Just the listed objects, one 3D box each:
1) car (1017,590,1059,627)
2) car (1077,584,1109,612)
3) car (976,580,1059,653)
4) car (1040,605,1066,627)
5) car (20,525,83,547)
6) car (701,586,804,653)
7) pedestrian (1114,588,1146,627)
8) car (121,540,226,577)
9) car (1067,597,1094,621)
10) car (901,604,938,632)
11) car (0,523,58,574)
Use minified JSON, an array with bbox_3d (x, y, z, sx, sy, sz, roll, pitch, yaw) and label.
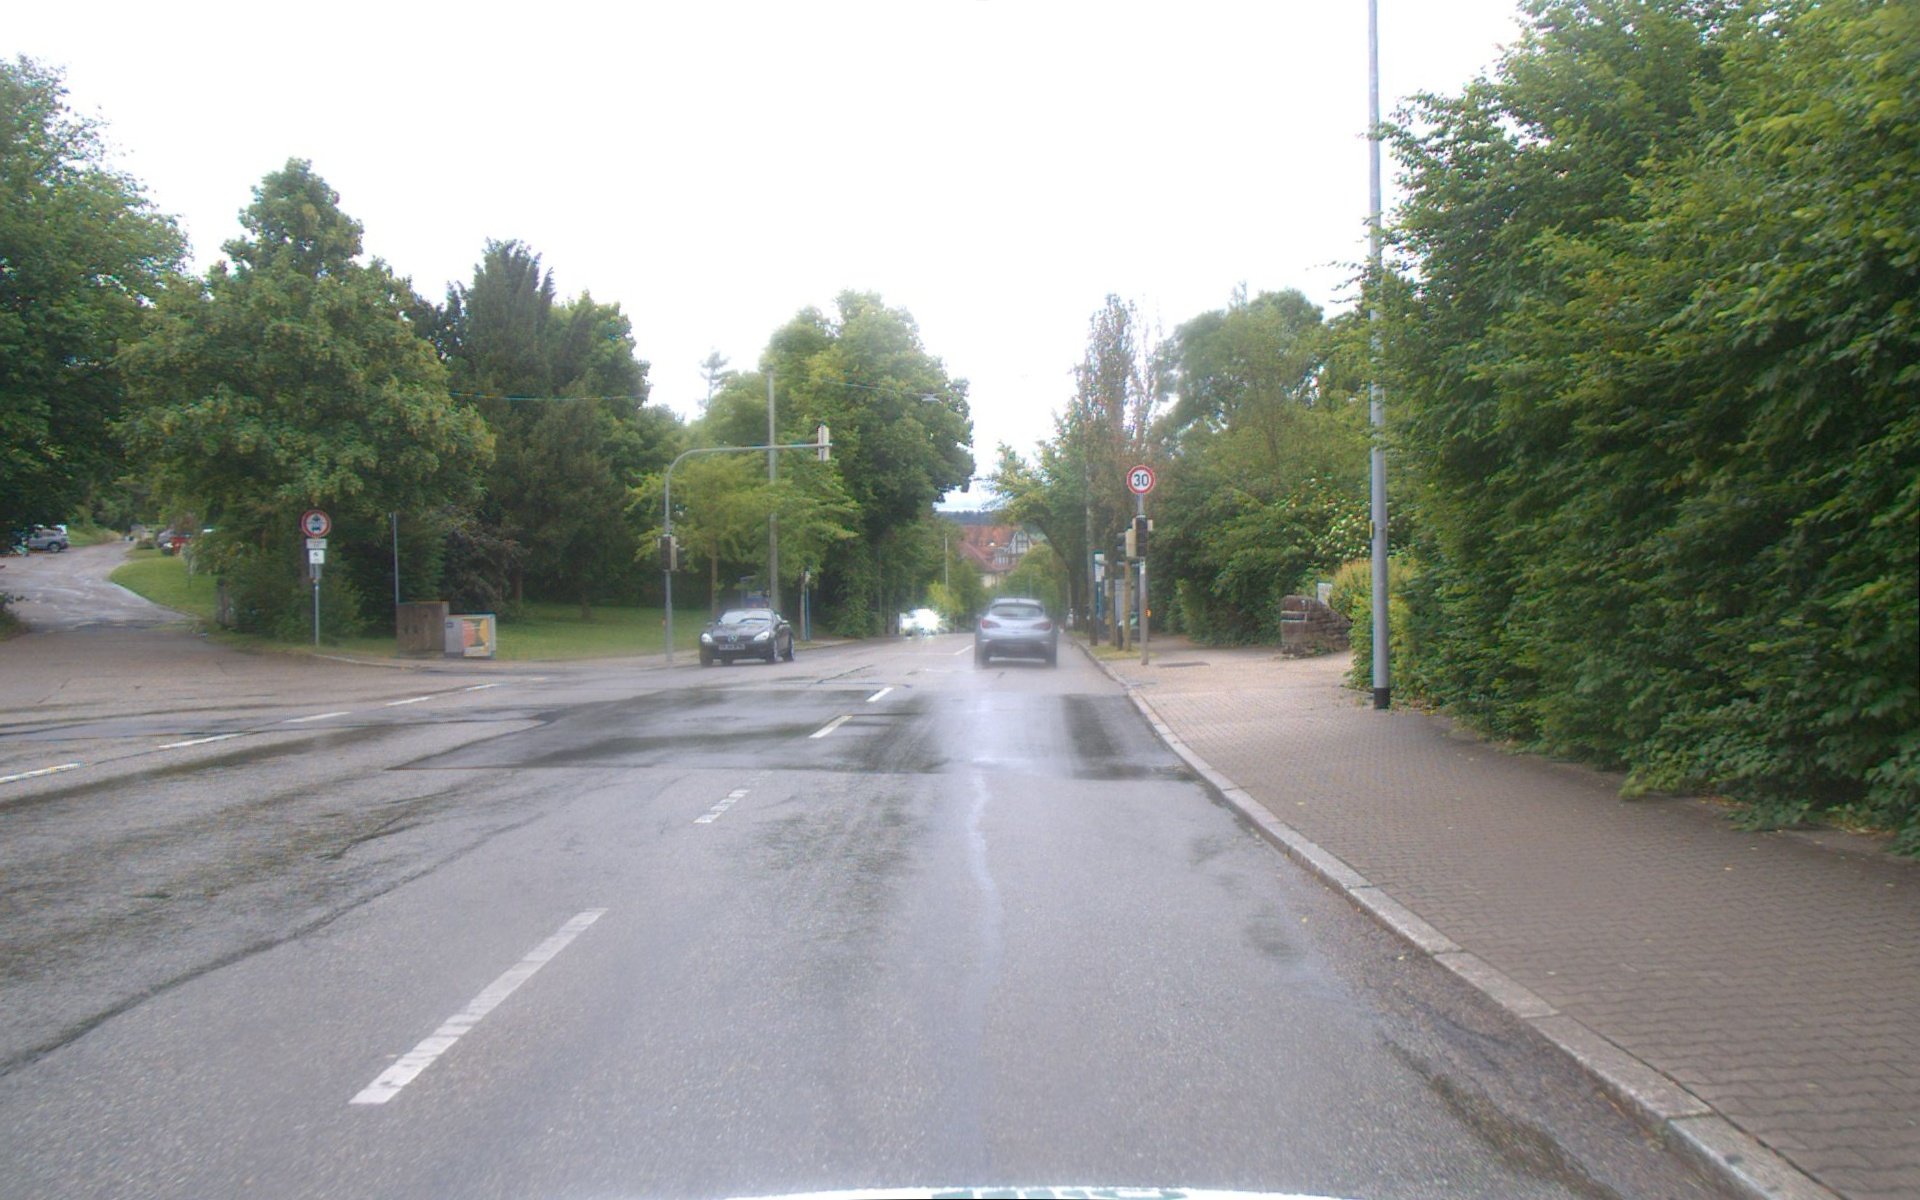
[{"bbox_3d":[3.304,0.348,70.911,1.686,1.489,4.001,2,0,2],"label":"car"},{"bbox_3d":[7.510,-0.128,93.759,1.685,1.489,4.002,-2,0,4],"label":"car"},{"bbox_3d":[1.275,0.324,37.152,1.718,1.489,4.001,1,1,1],"label":"car"},{"bbox_3d":[6.684,1.112,118.797,1.686,1.489,4.001,2,0,2],"label":"car"},{"bbox_3d":[-65.975,-4.653,120.153,3.944,1.408,1.710,2,0,-30],"label":"car"},{"bbox_3d":[-4.815,0.407,38.854,1.626,1.329,4.086,-3,1,3],"label":"car"},{"bbox_3d":[6.271,0.274,61.002,1.050,1.379,0.919,-2,0,10],"label":"pedestrian"},{"bbox_3d":[-33.495,-1.744,70.542,3.839,1.512,1.924,0,0,-20],"label":"car"},{"bbox_3d":[7.915,0.563,108.990,1.685,1.489,4.002,-2,0,4],"label":"car"},{"bbox_3d":[-2.217,0.986,91.869,1.685,1.423,4.002,1,0,3],"label":"car"},{"bbox_3d":[-30.302,-1.585,51.253,3.839,1.512,1.924,0,0,-20],"label":"car"}]
